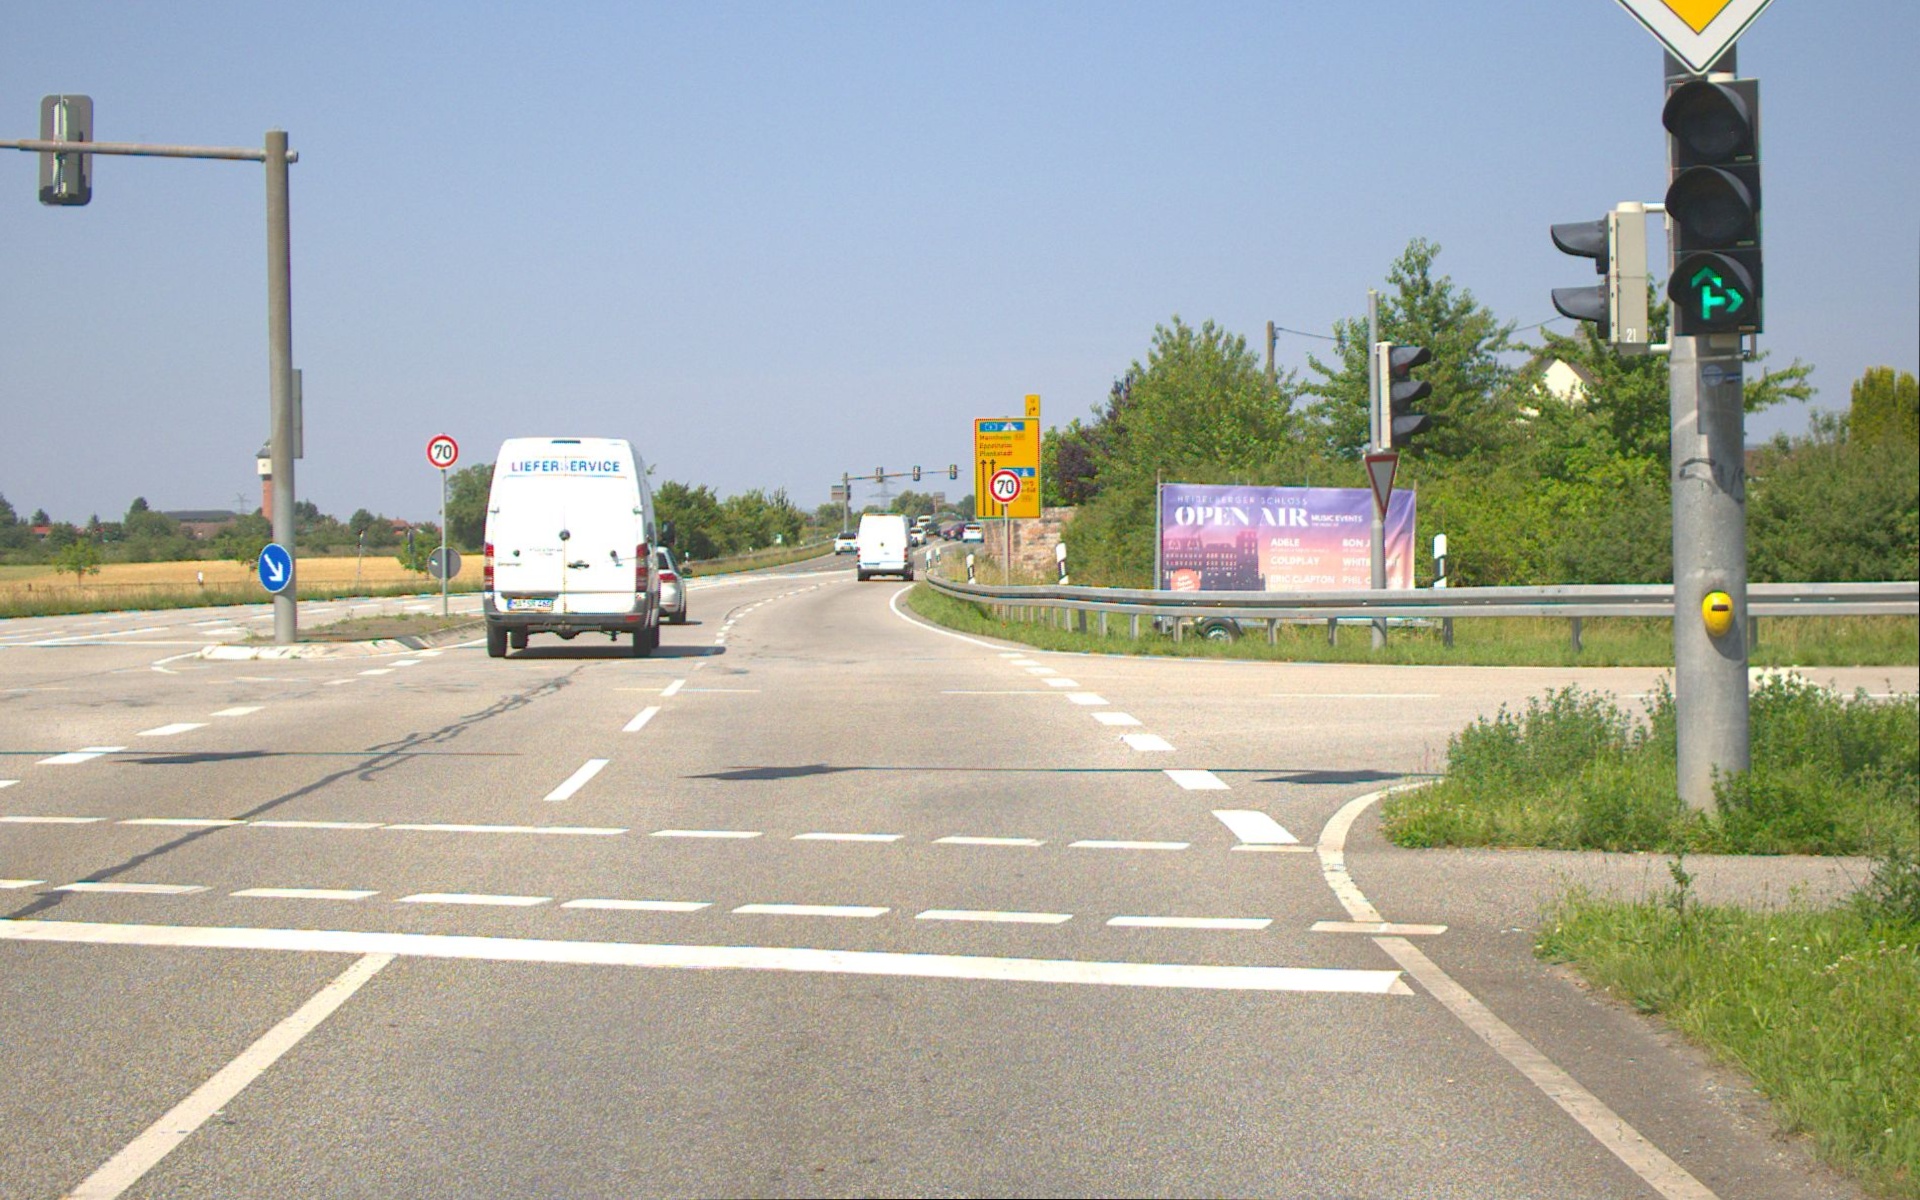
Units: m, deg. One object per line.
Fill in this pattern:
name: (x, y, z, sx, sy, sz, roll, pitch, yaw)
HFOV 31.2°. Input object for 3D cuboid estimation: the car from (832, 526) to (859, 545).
car: (-8.657, -4.880, 260.889, 1.749, 1.437, 4.082, -1, 1, 2)

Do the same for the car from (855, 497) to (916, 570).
car: (-2.848, -2.528, 131.739, 1.994, 2.686, 4.969, 1, 0, 2)

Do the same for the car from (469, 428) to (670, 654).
car: (-4.815, -0.739, 43.137, 2.039, 2.611, 5.742, -1, 1, -2)

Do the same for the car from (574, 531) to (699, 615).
car: (-6.090, -0.534, 65.178, 1.799, 1.503, 4.196, 0, 2, 2)

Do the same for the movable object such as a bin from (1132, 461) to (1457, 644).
movable object such as a bin: (4.410, -0.624, 45.597, 4.093, 2.323, 1.278, 1, 0, -5)
